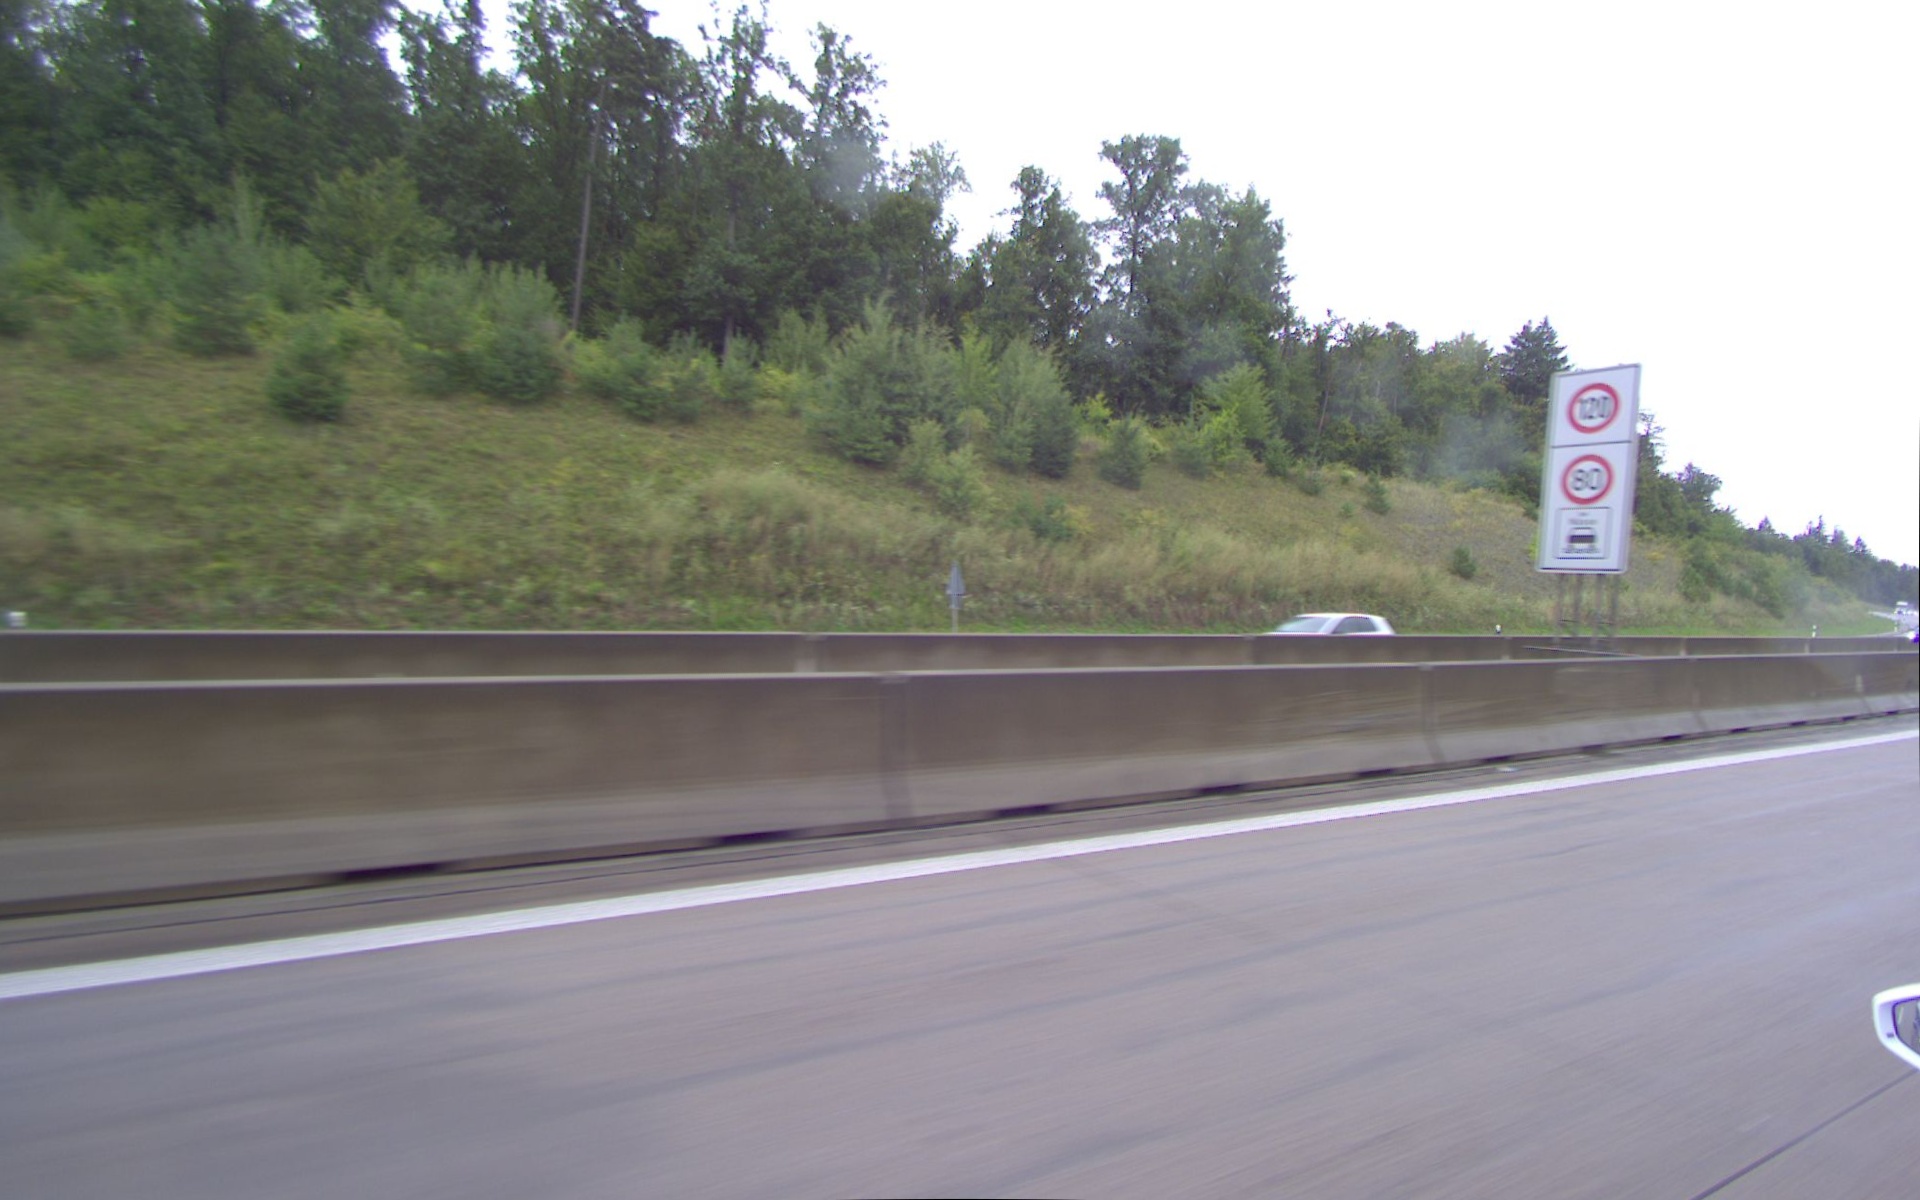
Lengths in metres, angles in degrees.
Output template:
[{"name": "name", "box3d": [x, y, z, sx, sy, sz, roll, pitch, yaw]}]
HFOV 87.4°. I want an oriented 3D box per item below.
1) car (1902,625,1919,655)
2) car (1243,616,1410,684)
[{"name": "car", "box3d": [55.828, 2.288, 57.656, 3.959, 1.660, 1.766, 1, -1, -34]}, {"name": "car", "box3d": [9.042, 1.190, 24.721, 3.954, 1.538, 1.768, 1, -1, -31]}]
